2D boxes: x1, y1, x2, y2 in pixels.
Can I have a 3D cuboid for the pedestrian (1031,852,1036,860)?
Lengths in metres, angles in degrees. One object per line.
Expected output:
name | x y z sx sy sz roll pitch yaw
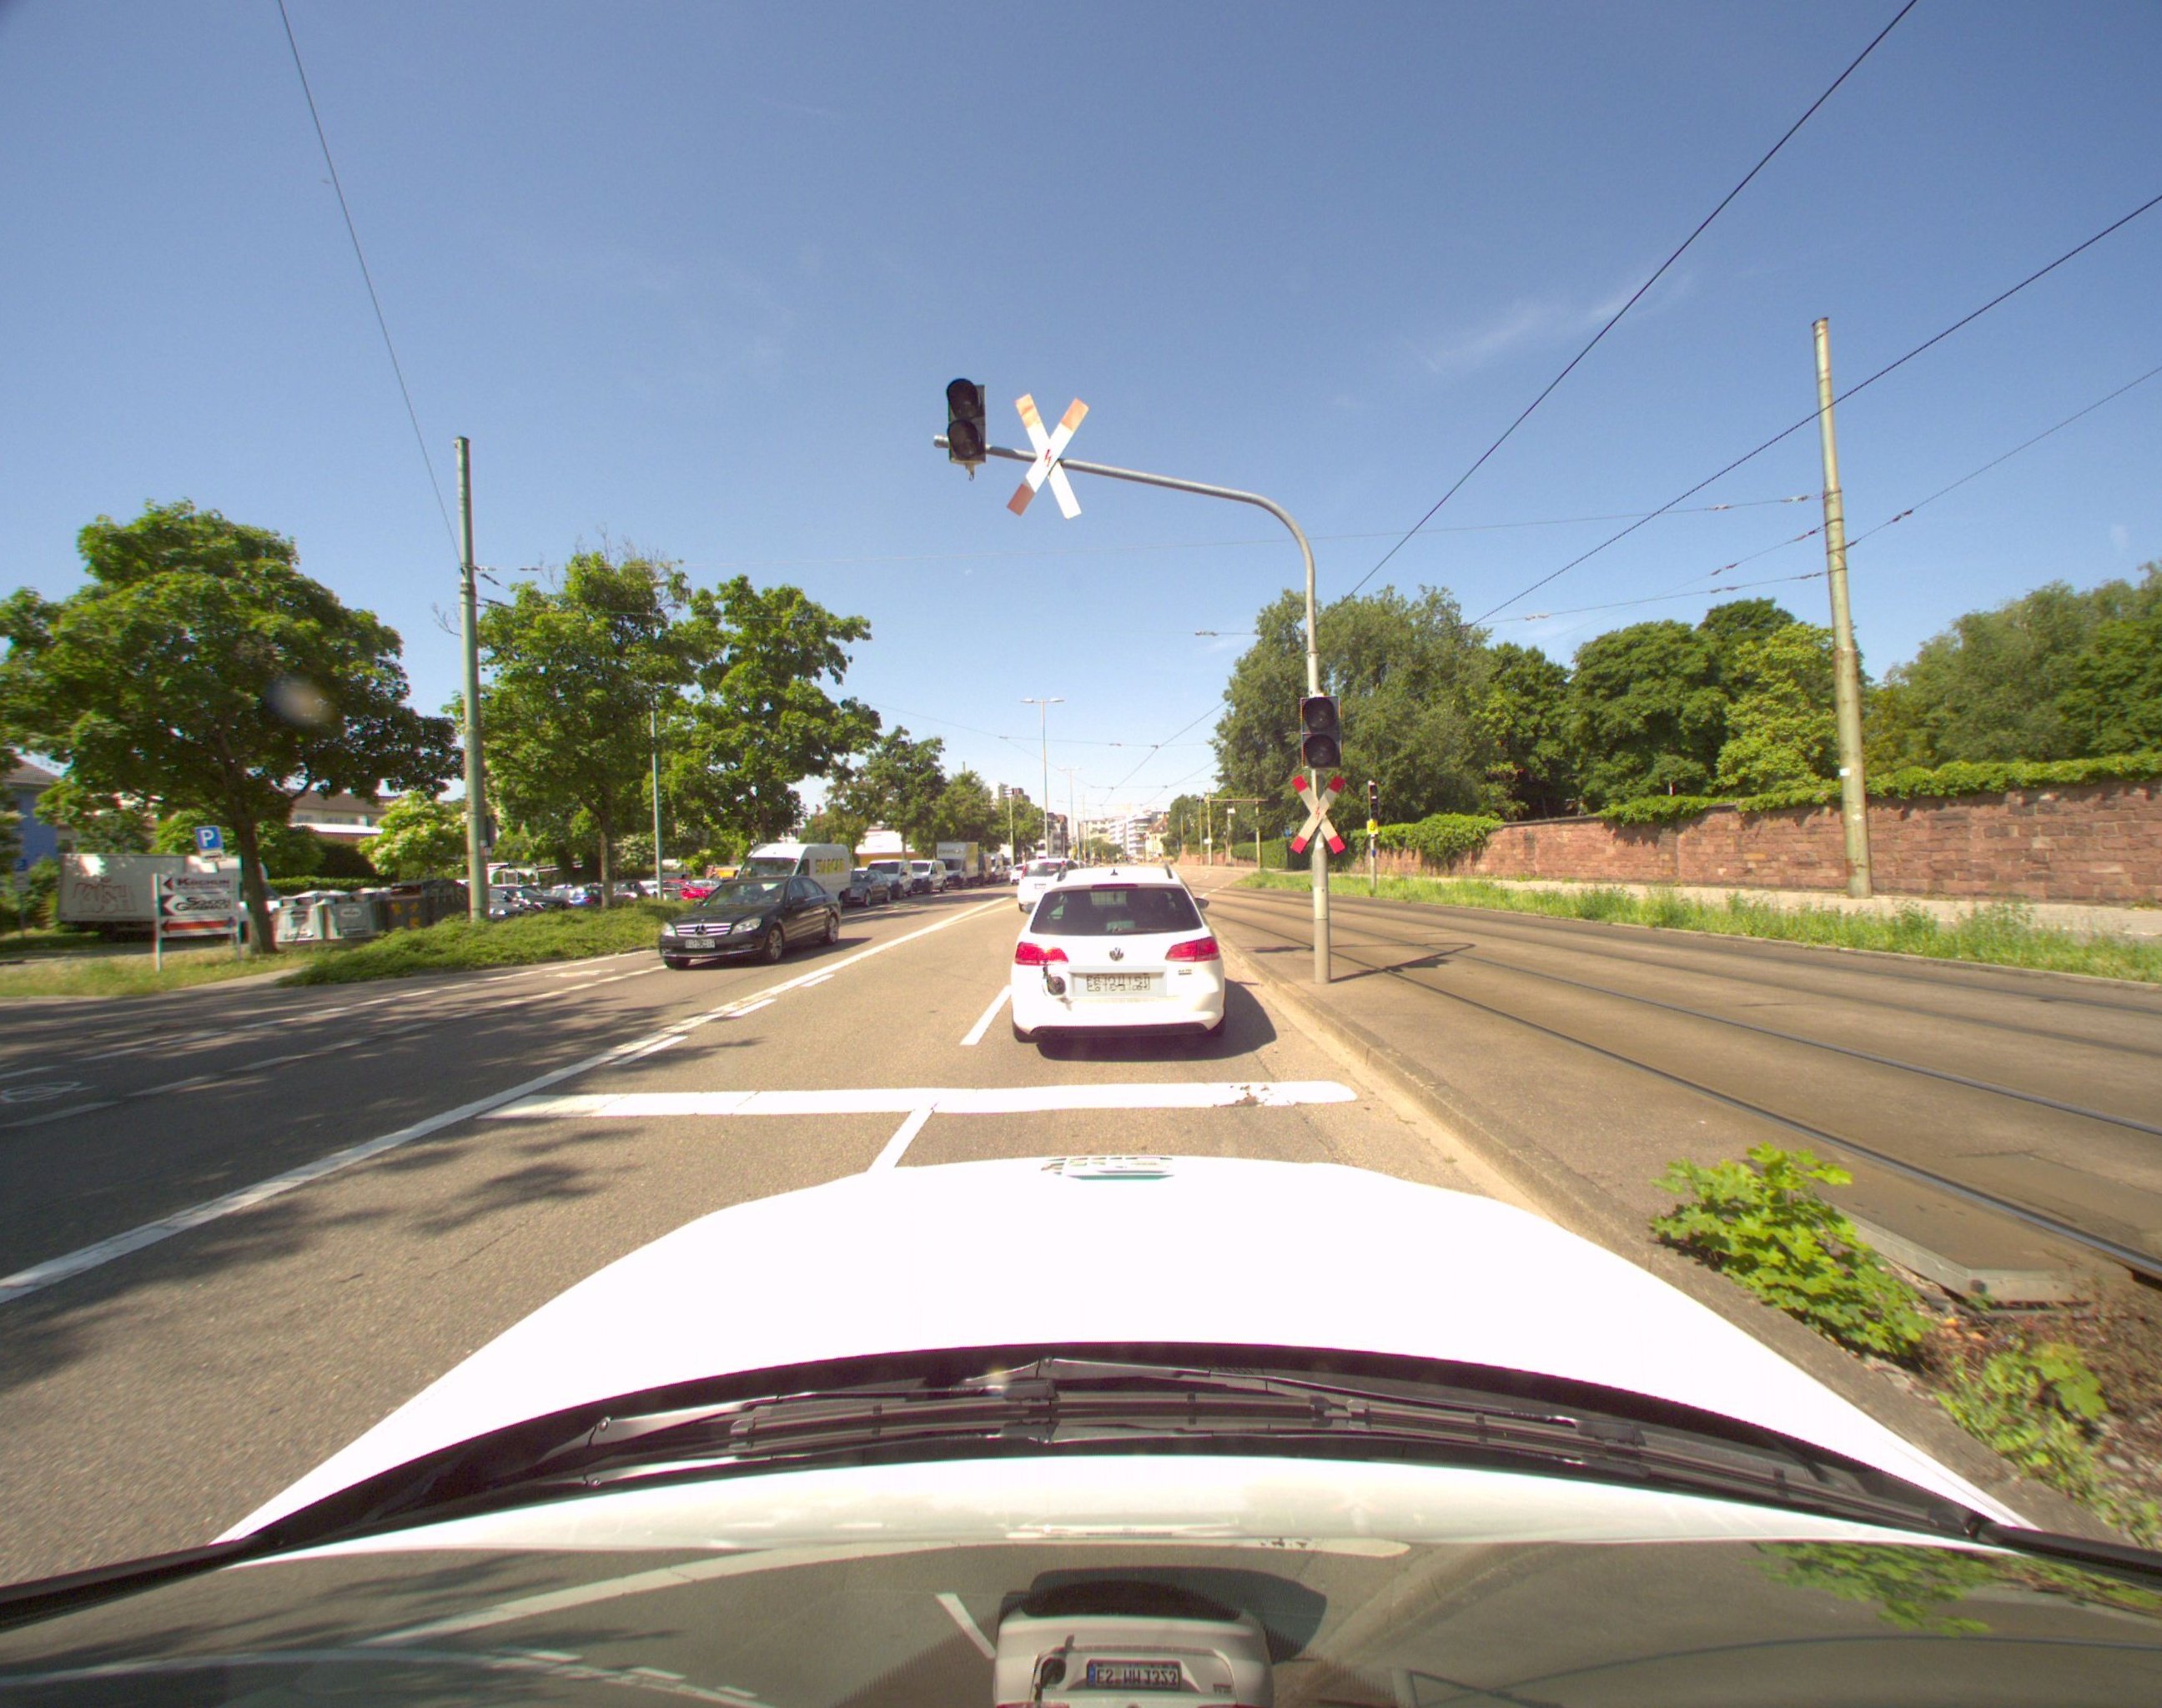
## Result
pedestrian | -8.863 0.407 152.172 0.559 1.487 0.821 -3 -1 45

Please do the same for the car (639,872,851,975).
car | -5.770 1.120 14.636 1.778 1.409 4.308 -3 -1 3

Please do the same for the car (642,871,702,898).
car | -34.069 2.558 67.921 3.977 2.003 1.909 -3 -1 -2

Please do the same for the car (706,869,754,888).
car | -43.539 3.031 101.059 4.915 2.174 2.099 -3 -1 -2

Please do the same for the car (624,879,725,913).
car | -19.755 2.021 39.670 3.973 1.409 1.732 -3 -1 1

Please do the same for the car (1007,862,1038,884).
car | -4.232 1.394 59.773 1.720 1.465 4.003 -3 0 3

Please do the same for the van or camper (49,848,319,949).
van or camper | -32.909 1.574 30.078 6.928 3.244 2.581 -3 -1 -1

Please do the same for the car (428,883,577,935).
car | -20.261 1.914 28.628 3.974 1.544 1.663 -3 -1 0

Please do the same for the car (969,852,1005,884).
car | -8.072 1.148 70.290 2.187 2.631 5.982 0 0 2

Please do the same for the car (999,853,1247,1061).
car | 0.384 0.755 7.783 1.771 1.490 3.849 -1 0 2

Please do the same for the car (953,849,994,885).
car | -8.304 1.003 63.576 2.187 2.668 6.082 0 0 2

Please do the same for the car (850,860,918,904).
car | -9.661 1.338 40.348 2.190 1.941 5.180 -3 0 -2

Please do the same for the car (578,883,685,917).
car | -20.348 2.061 36.975 3.902 1.271 1.664 -3 -1 1

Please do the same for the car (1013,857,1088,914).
car | -0.853 0.909 25.153 1.722 1.596 4.017 -2 -1 6

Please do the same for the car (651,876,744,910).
car | -19.852 2.013 42.234 3.973 1.544 1.664 -3 -1 1

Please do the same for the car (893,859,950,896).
car | -9.212 1.298 47.360 2.189 1.941 5.184 -3 0 0

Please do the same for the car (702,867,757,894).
car | -31.424 2.384 72.820 3.977 2.200 1.909 -3 -1 -2

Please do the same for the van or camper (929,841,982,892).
van or camper | -8.440 0.800 55.645 2.186 3.241 6.777 0 0 3

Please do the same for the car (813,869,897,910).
car | -9.311 1.422 34.007 1.925 1.454 4.887 -3 0 2

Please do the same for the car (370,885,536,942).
car | -20.081 1.876 26.148 3.974 1.544 1.663 -3 -1 0

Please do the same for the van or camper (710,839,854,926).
van or camper | -9.899 0.886 27.695 2.248 2.514 6.152 -3 -1 3

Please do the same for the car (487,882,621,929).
car | -20.173 1.952 31.257 3.974 1.544 1.663 -3 -1 0

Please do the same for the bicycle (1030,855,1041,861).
bicycle | -8.445 0.732 151.773 2.190 0.921 0.546 -2 -1 -45

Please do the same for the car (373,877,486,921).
car | -31.920 2.174 39.982 3.977 1.891 1.784 -3 -1 -2

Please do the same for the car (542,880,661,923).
car | -20.337 2.002 34.640 3.973 1.544 1.664 -3 -1 1

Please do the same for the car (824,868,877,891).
car | -19.562 2.135 69.150 3.974 1.694 1.663 -3 -1 -1
